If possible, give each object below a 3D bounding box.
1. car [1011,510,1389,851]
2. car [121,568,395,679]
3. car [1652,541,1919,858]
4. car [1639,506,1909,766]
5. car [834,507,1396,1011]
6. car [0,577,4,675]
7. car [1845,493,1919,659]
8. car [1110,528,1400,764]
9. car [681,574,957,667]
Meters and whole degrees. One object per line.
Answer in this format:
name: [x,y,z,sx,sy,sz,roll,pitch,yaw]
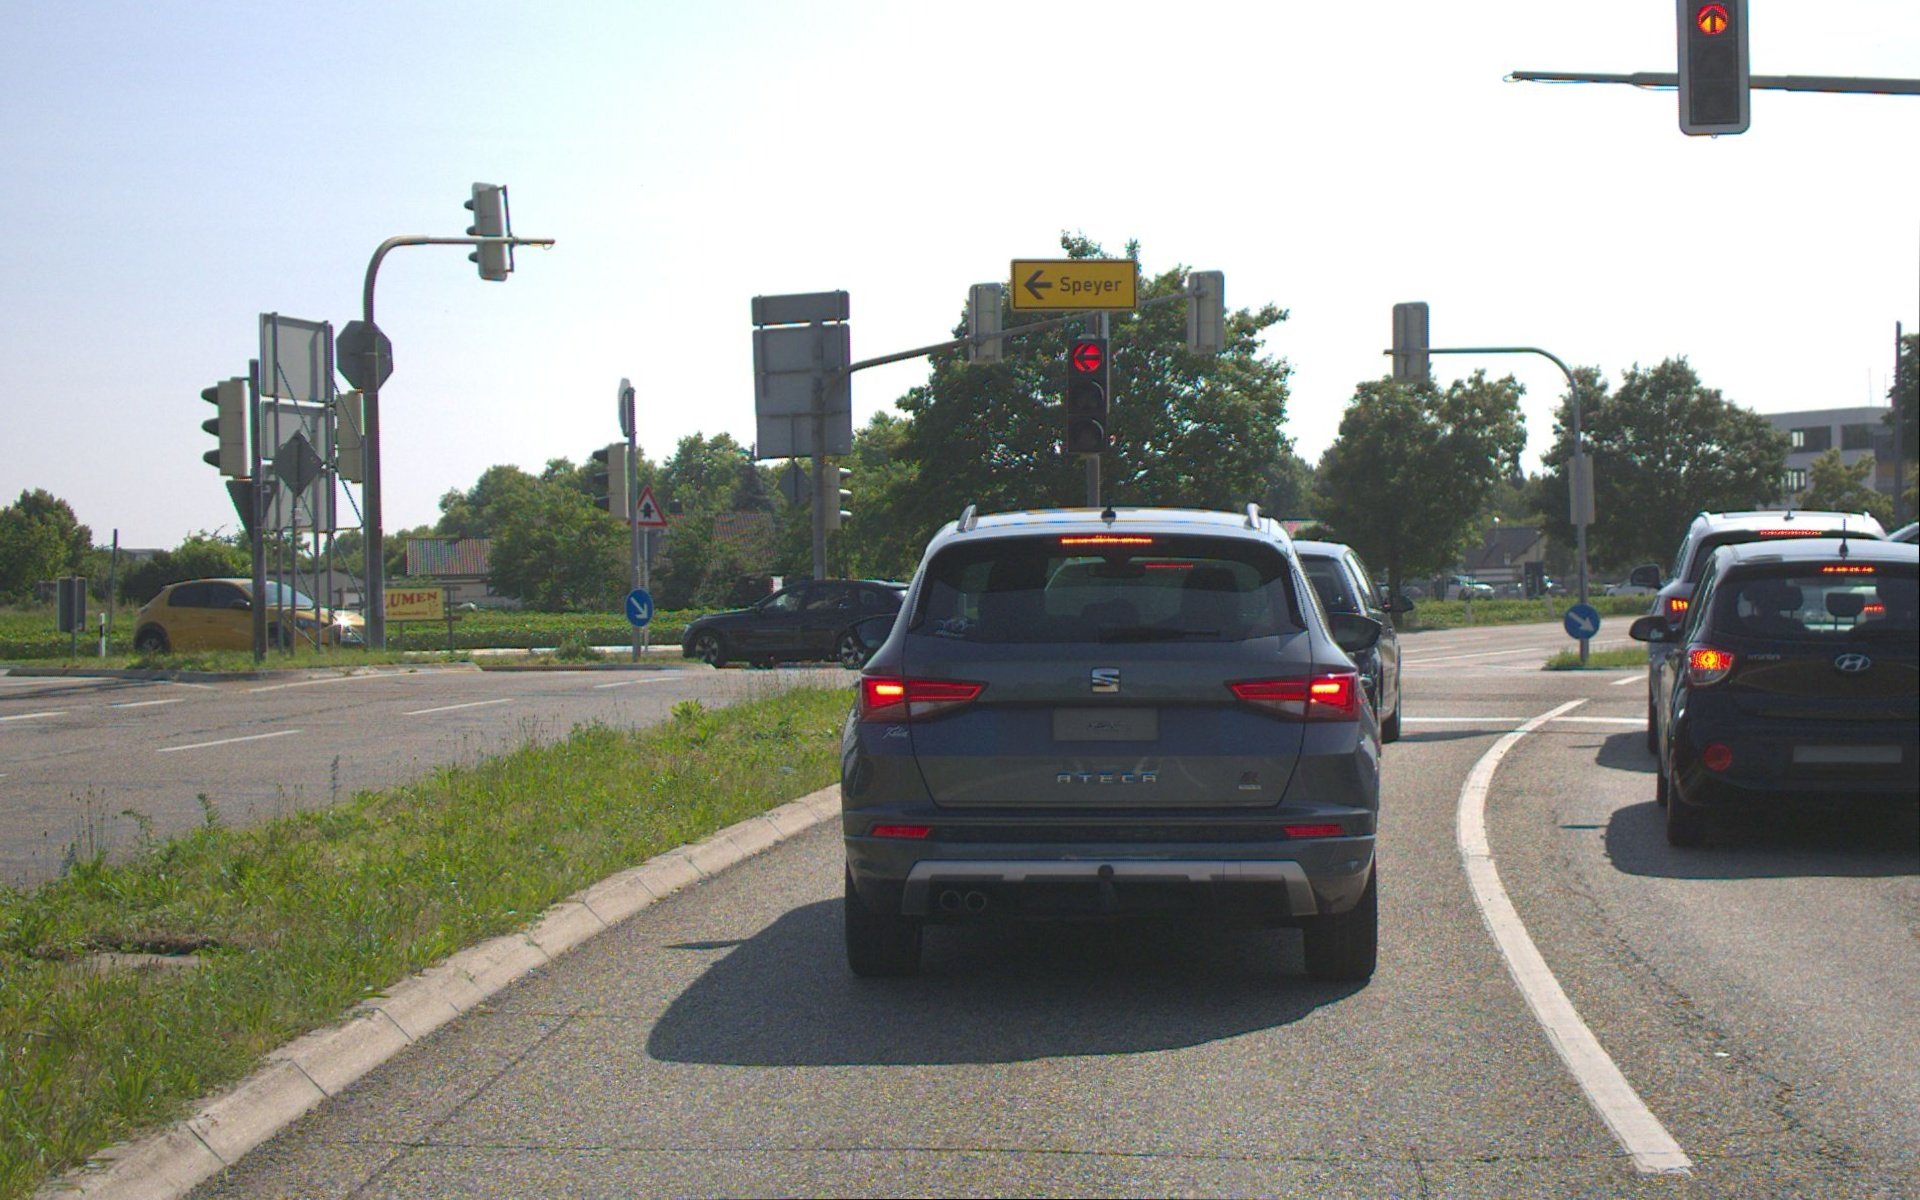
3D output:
car: [1.261,0.355,17.944,1.742,1.563,3.624,1,1,4]
car: [-10.889,0.355,53.294,3.994,1.645,1.817,0,1,32]
car: [4.378,0.431,17.427,1.633,1.443,3.293,1,1,10]
car: [5.652,0.208,24.202,1.633,1.671,3.748,1,1,10]
car: [0.585,0.470,12.510,1.742,1.563,3.624,0,1,3]
car: [-18.291,0.457,58.192,3.994,1.645,1.817,0,1,32]
car: [12.963,-0.272,40.245,4.934,1.911,1.999,1,1,12]
car: [2.119,0.272,23.896,1.742,1.479,3.623,1,1,9]
car: [-2.247,0.311,54.551,4.097,1.411,1.714,0,1,30]
